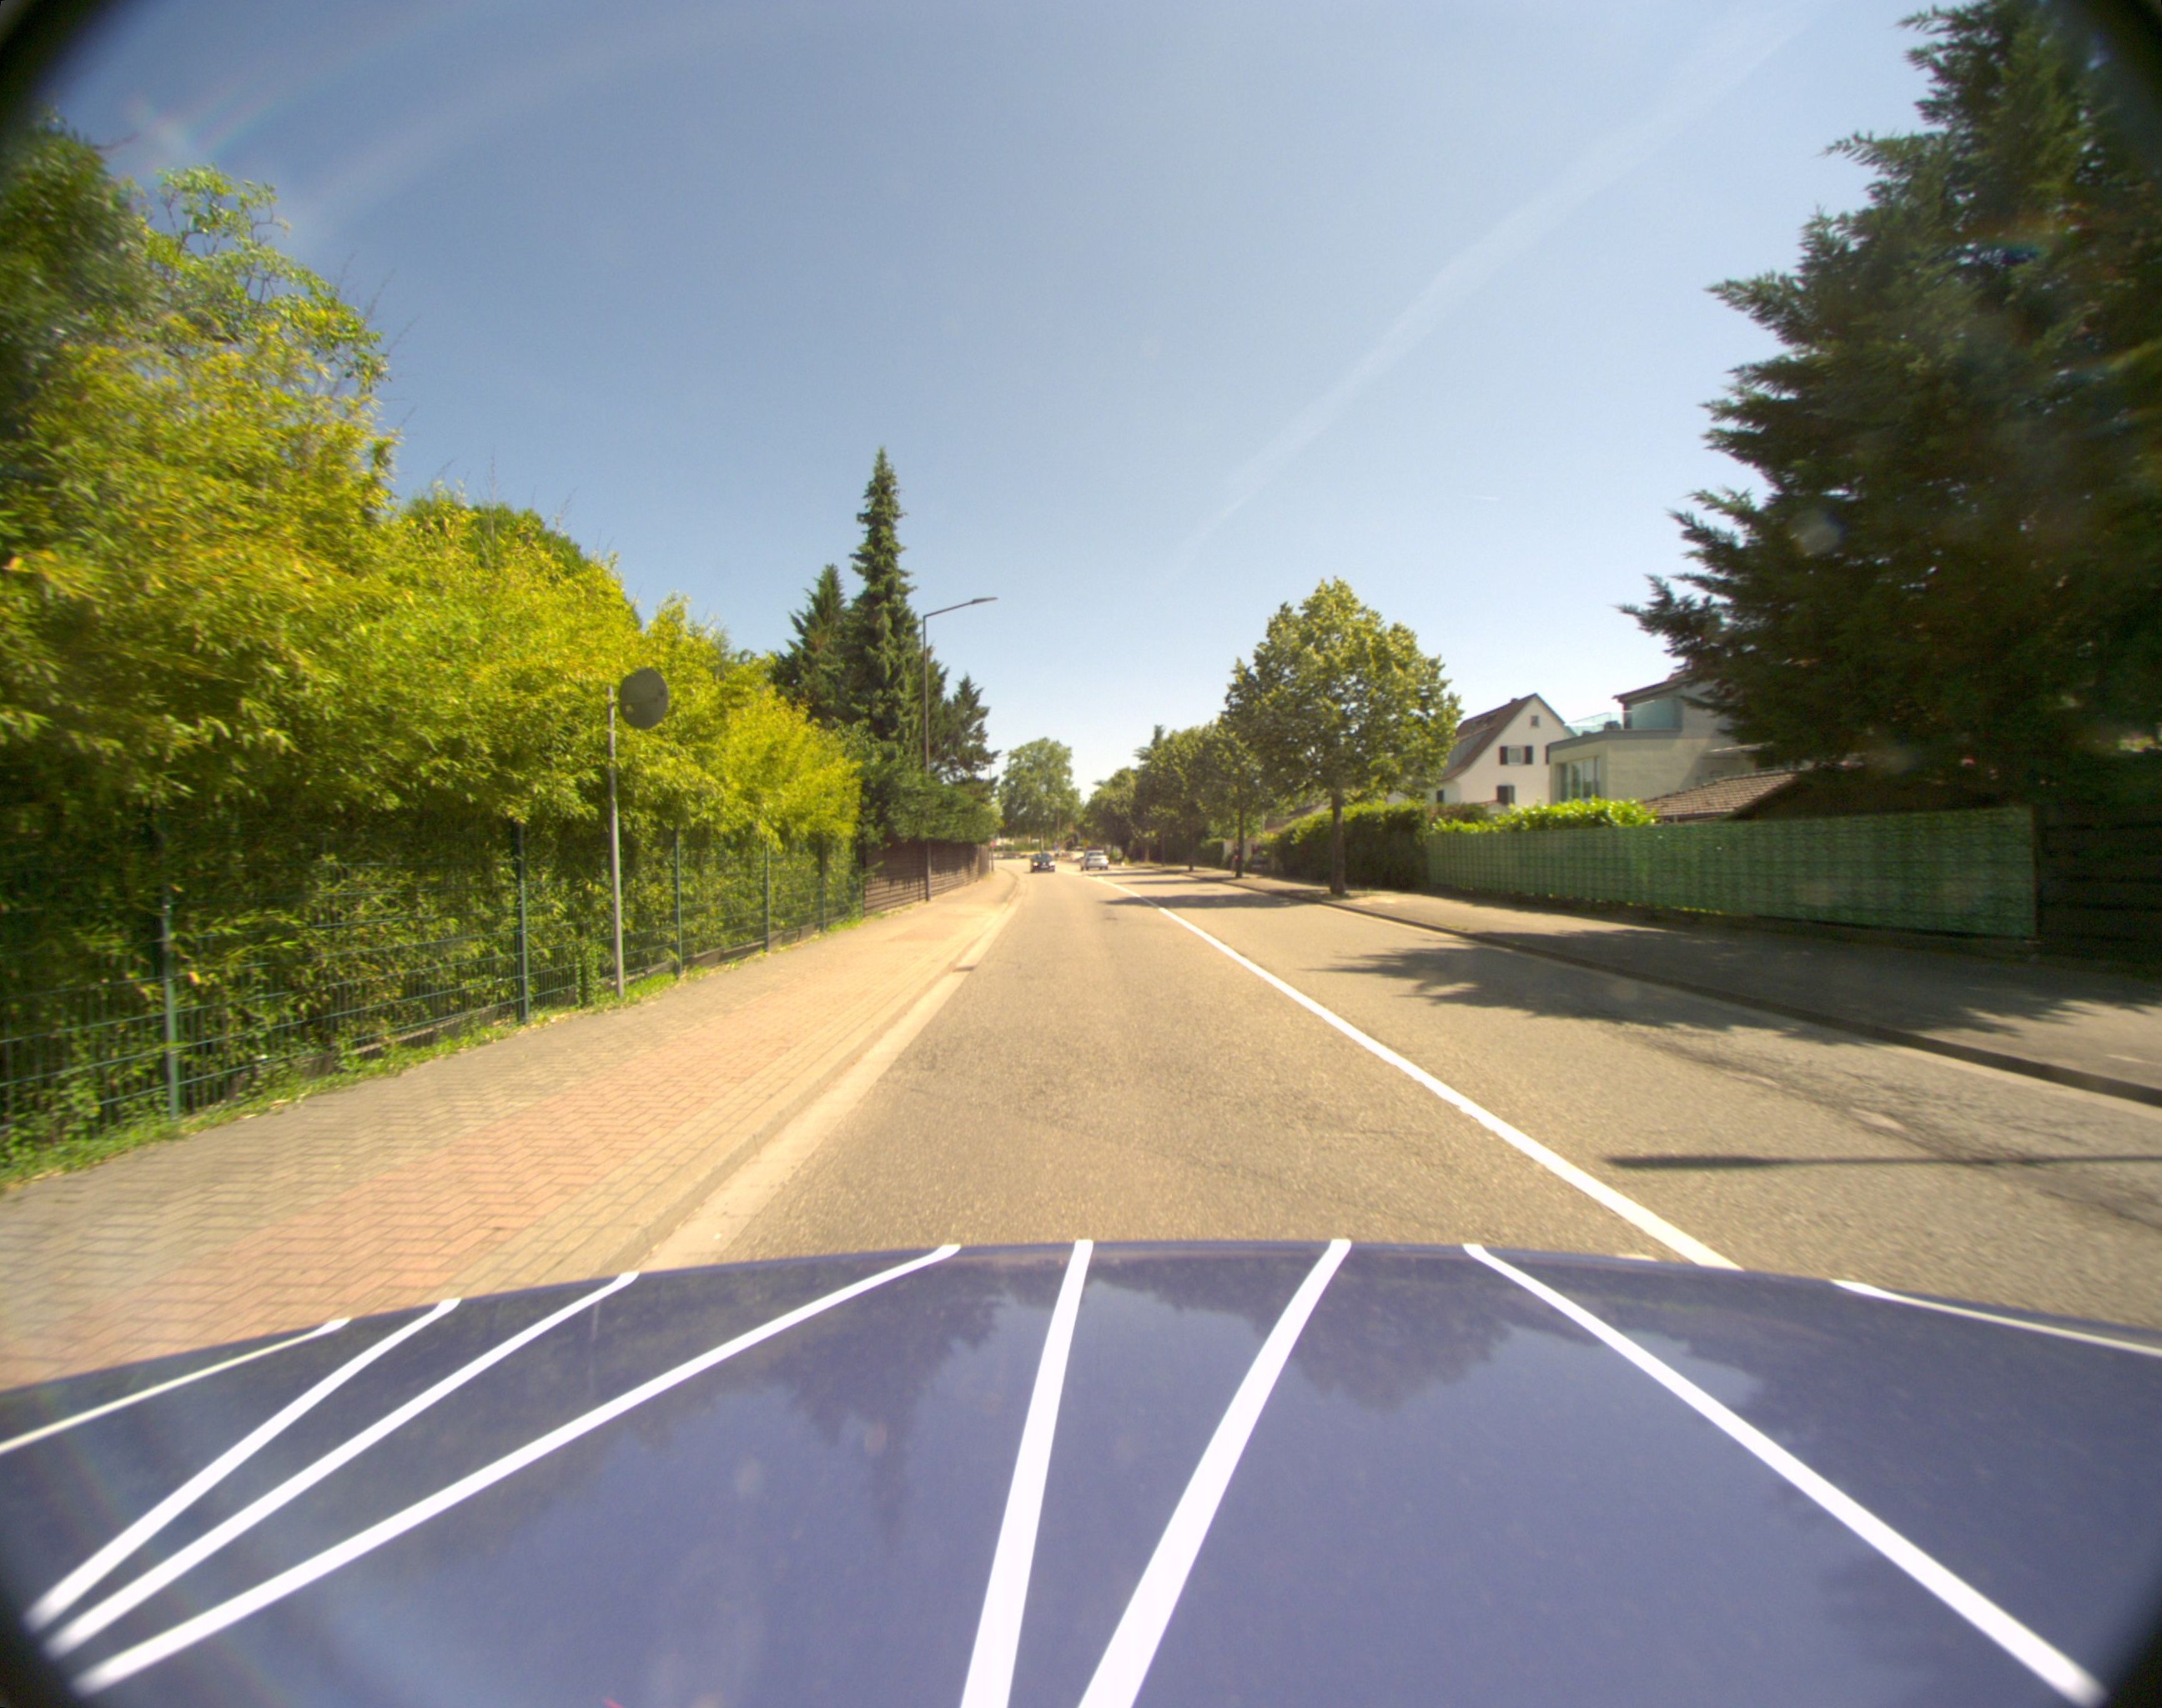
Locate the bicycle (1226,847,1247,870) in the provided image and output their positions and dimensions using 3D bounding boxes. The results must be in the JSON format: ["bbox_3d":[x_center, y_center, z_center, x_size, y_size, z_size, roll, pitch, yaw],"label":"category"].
[{"bbox_3d":[7.980,0.219,38.932,0.634,1.173,1.815,0,1,-2],"label":"bicycle"}]

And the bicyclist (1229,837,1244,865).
[{"bbox_3d":[7.978,-0.147,38.930,0.630,1.400,0.676,0,1,-2],"label":"bicyclist"}]

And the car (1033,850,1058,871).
[{"bbox_3d":[-2.647,0.438,56.439,1.608,1.436,3.906,-2,1,-6],"label":"car"}]

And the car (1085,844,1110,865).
[{"bbox_3d":[1.231,0.028,57.455,1.616,1.474,3.706,-1,1,-3],"label":"car"}]
